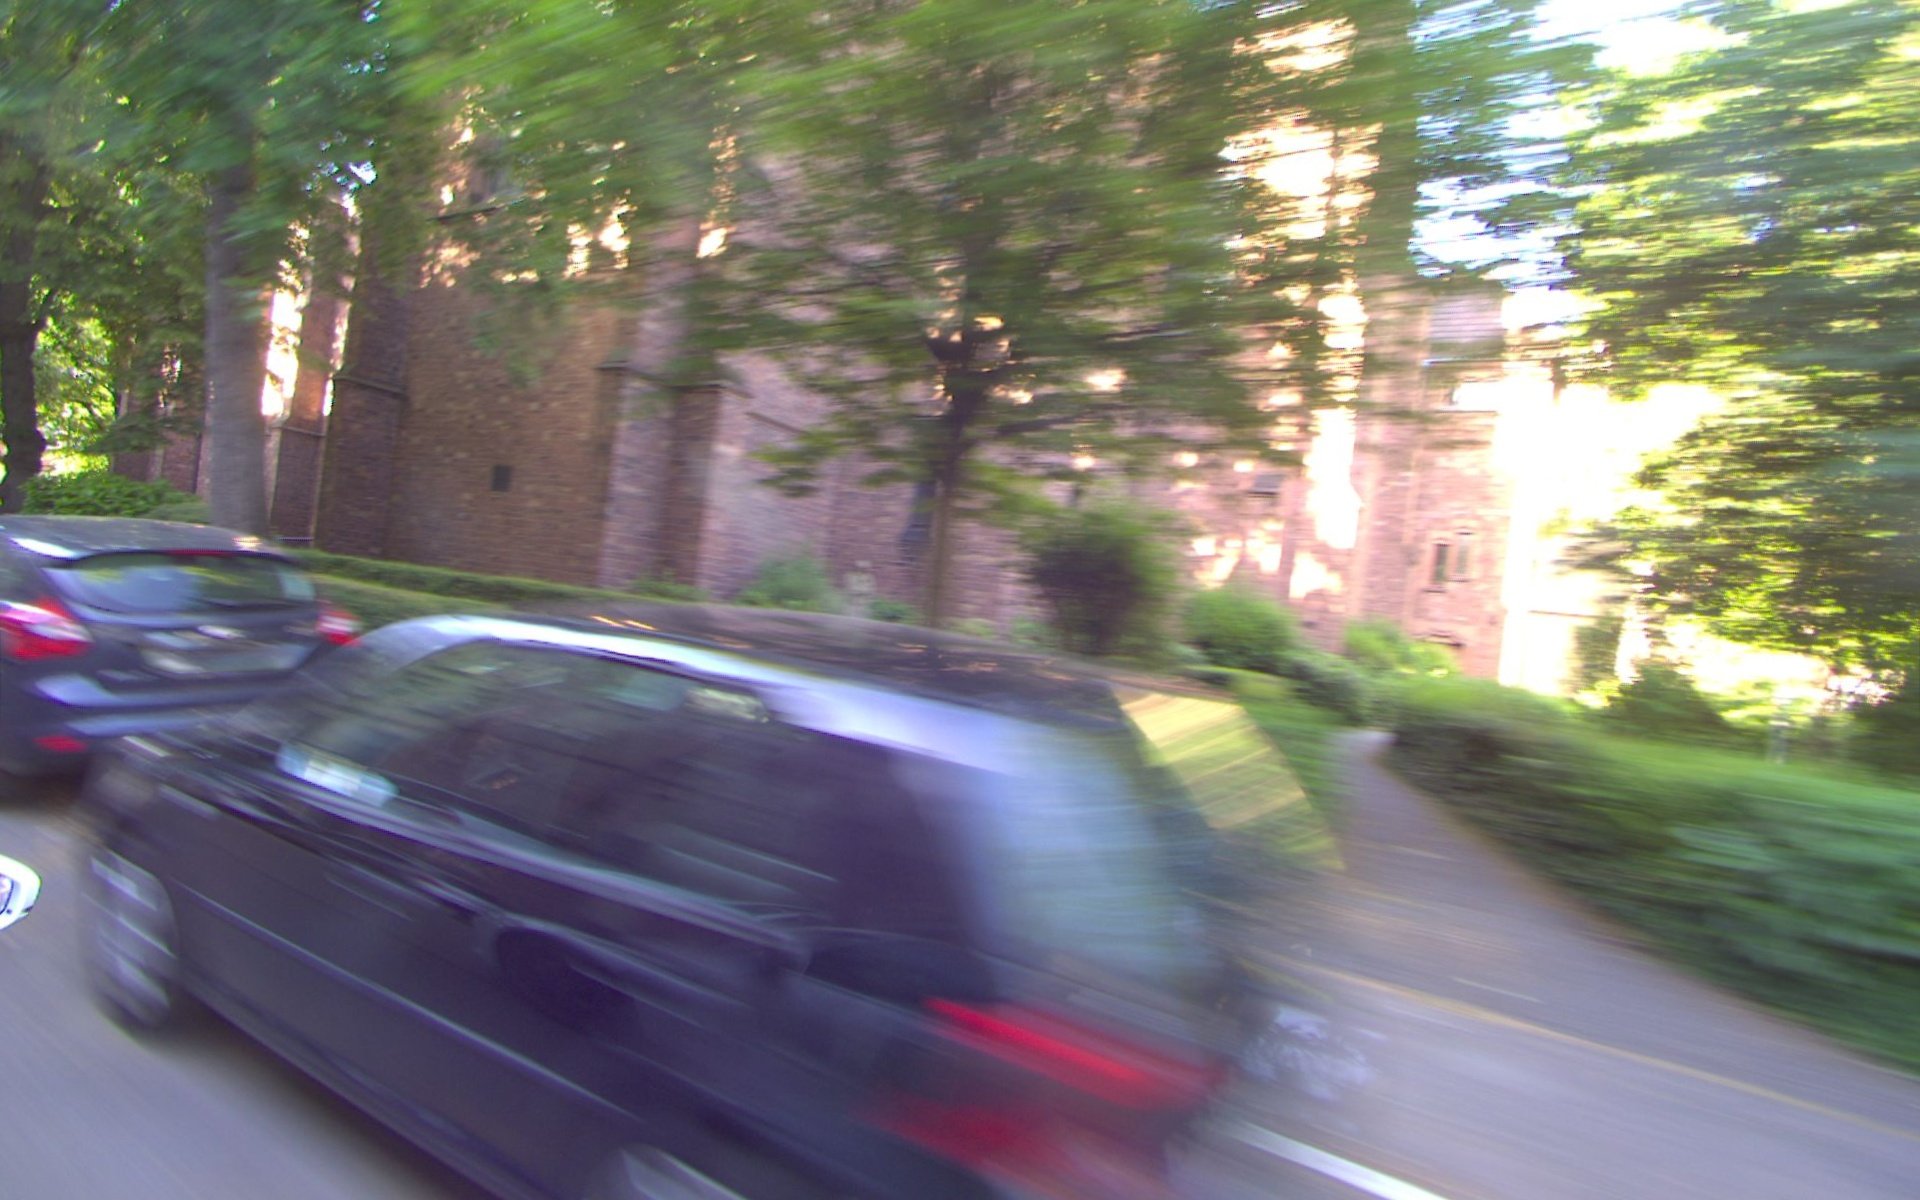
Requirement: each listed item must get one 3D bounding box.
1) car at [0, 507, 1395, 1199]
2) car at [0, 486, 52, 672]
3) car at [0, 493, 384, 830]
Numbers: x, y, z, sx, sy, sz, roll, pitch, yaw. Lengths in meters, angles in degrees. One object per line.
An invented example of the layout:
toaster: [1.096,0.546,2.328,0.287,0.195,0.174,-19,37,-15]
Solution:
car: [-1.010,0.634,2.976,3.936,1.454,1.623,6,0,31]
car: [-9.852,-0.329,8.879,3.886,1.541,1.664,5,3,31]
car: [-5.546,0.133,6.371,3.995,1.541,1.663,6,3,33]
